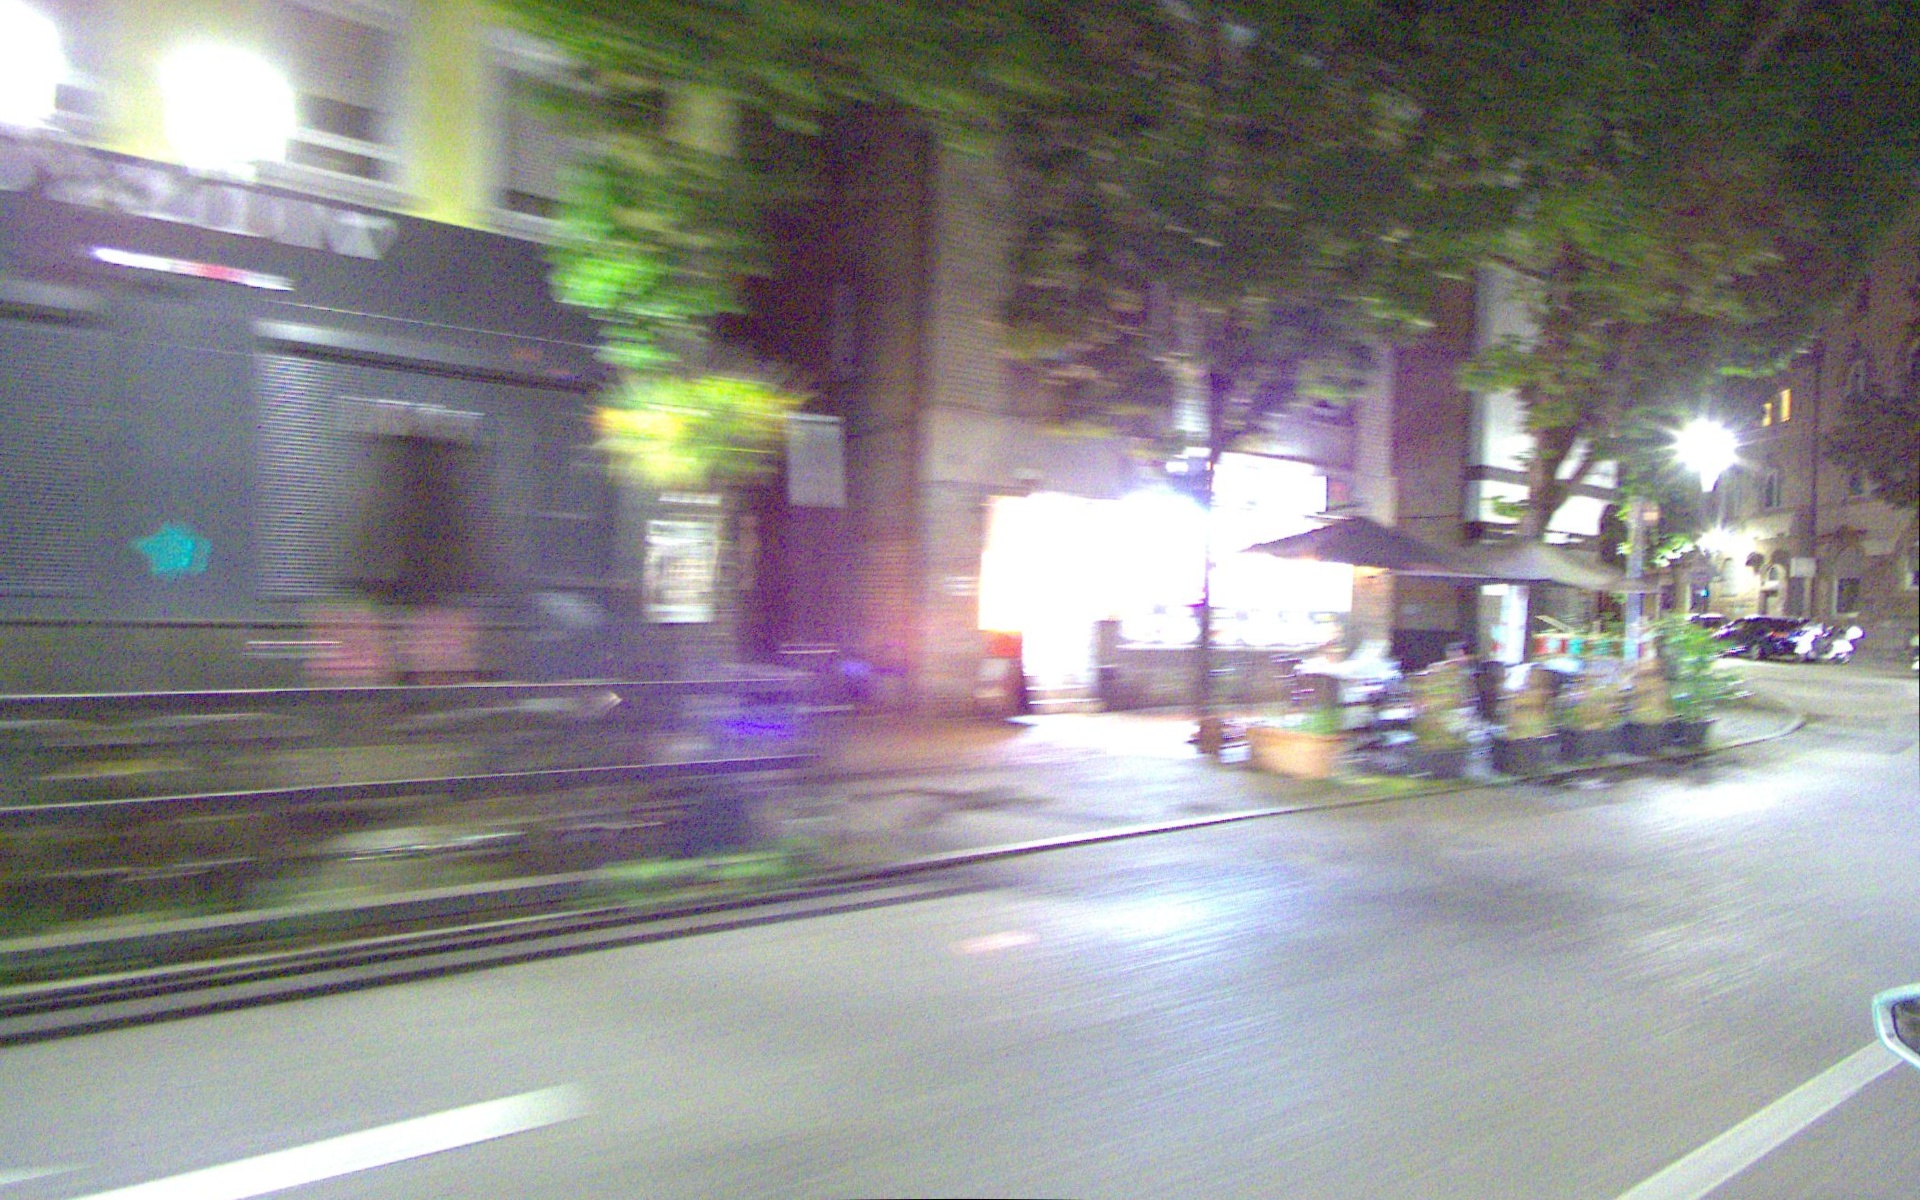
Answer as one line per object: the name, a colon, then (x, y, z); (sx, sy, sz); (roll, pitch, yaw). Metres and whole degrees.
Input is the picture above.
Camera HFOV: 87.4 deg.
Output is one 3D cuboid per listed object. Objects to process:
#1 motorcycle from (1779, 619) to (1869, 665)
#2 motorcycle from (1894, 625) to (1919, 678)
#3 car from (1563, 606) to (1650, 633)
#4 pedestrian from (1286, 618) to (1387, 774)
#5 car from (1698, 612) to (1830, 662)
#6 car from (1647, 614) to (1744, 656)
motorcycle: (27.611, 1.327, 32.124); (2.018, 1.425, 0.925); (0, 1, 3)
motorcycle: (26.202, 1.391, 27.082); (1.916, 1.371, 0.759); (1, 1, -23)
car: (38.591, 1.165, 60.083); (3.945, 1.441, 1.853); (1, -1, 11)
pedestrian: (3.583, 0.881, 9.565); (0.571, 1.396, 0.671); (1, 1, -37)
car: (27.870, 1.225, 35.002); (1.702, 1.521, 4.470); (1, 0, 12)
car: (29.162, 1.334, 39.969); (1.707, 1.473, 4.002); (1, 0, 15)
